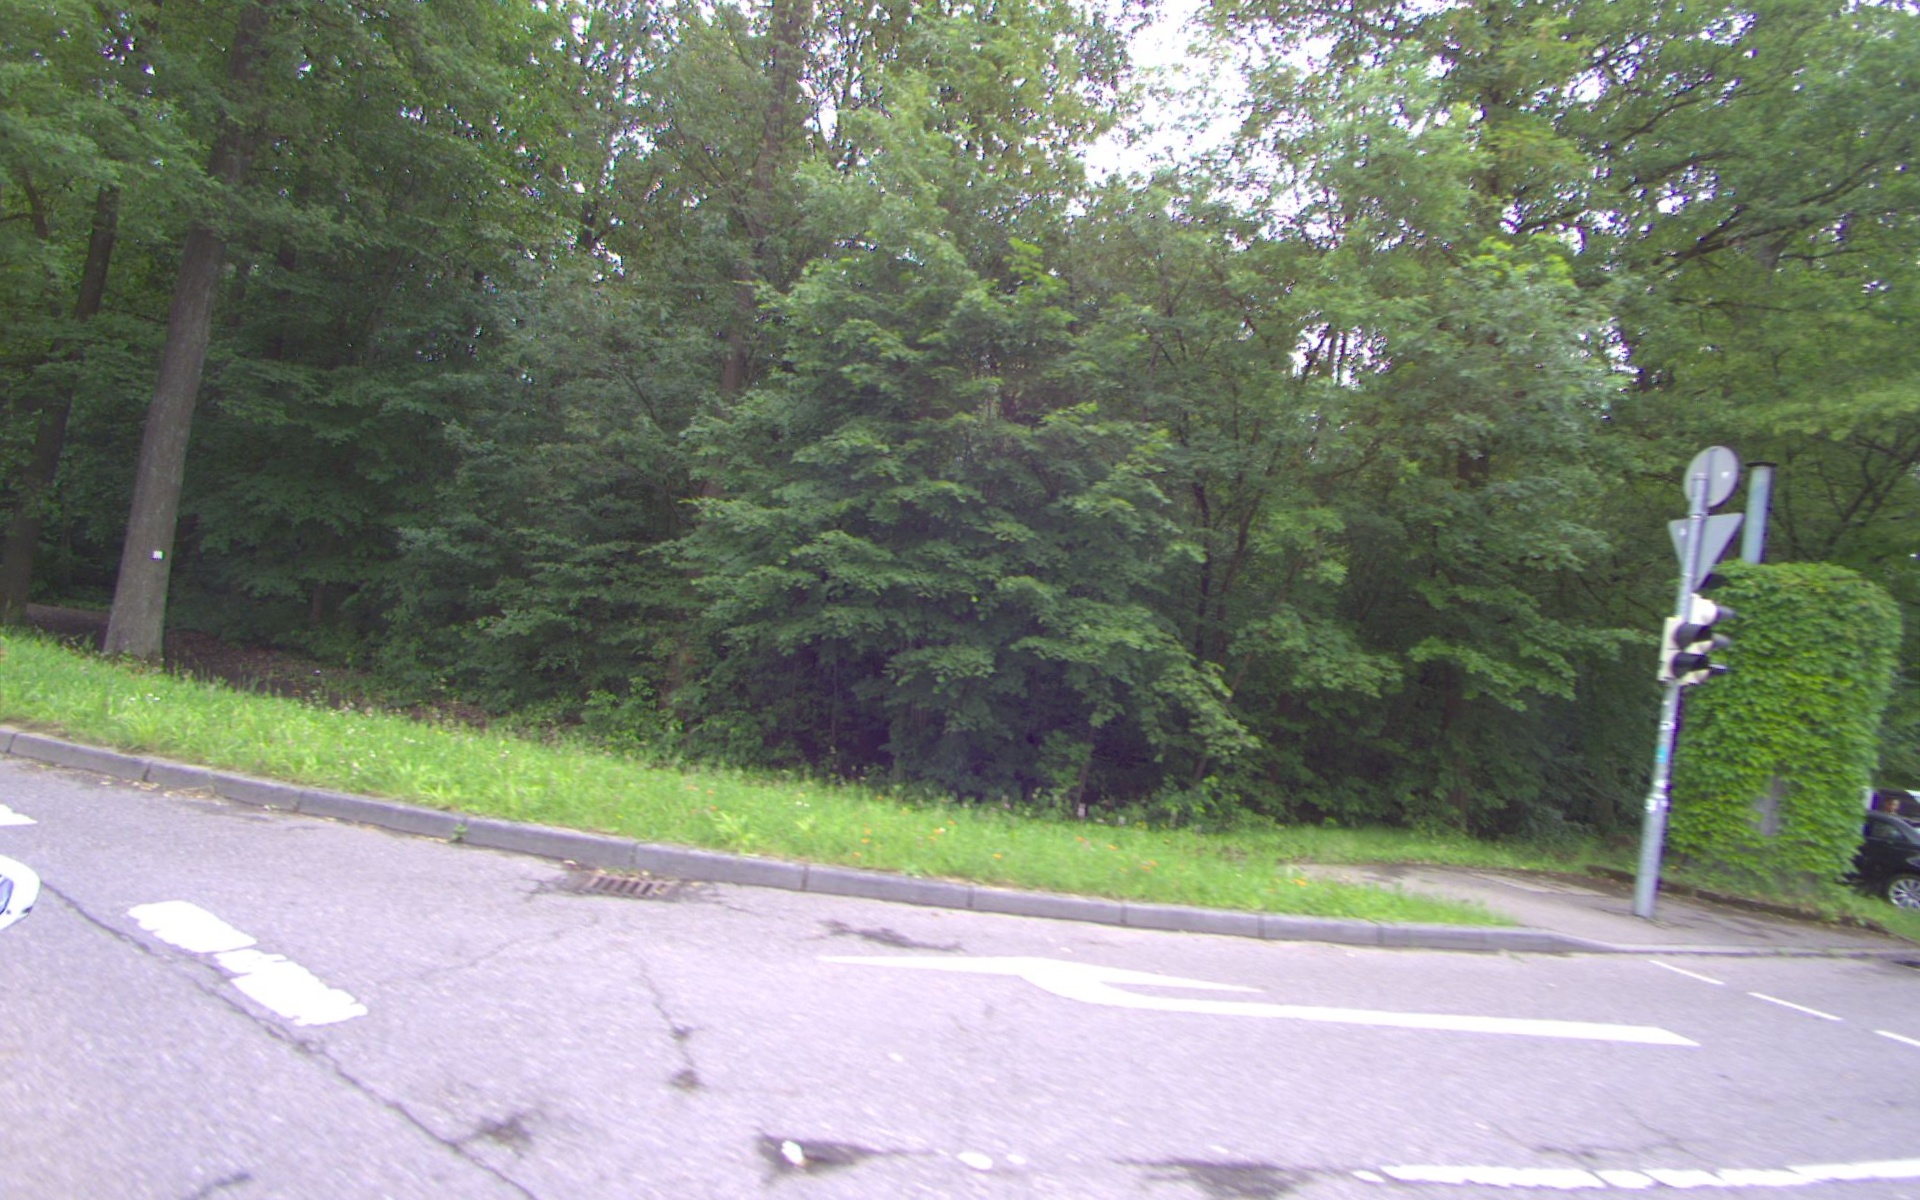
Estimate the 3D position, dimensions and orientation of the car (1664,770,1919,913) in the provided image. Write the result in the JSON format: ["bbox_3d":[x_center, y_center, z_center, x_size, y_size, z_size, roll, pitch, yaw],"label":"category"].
[{"bbox_3d":[13.517,3.769,15.628,1.811,1.435,3.805,12,-4,-40],"label":"car"}]

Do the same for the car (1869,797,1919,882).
[{"bbox_3d":[21.837,5.370,20.967,1.837,1.638,3.948,12,-4,-39],"label":"car"}]

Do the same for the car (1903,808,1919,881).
[{"bbox_3d":[24.203,5.975,22.707,1.837,1.635,3.948,12,-4,-39],"label":"car"}]

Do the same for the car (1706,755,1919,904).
[{"bbox_3d":[16.040,4.082,17.079,1.984,1.898,4.905,11,-4,-34],"label":"car"}]
